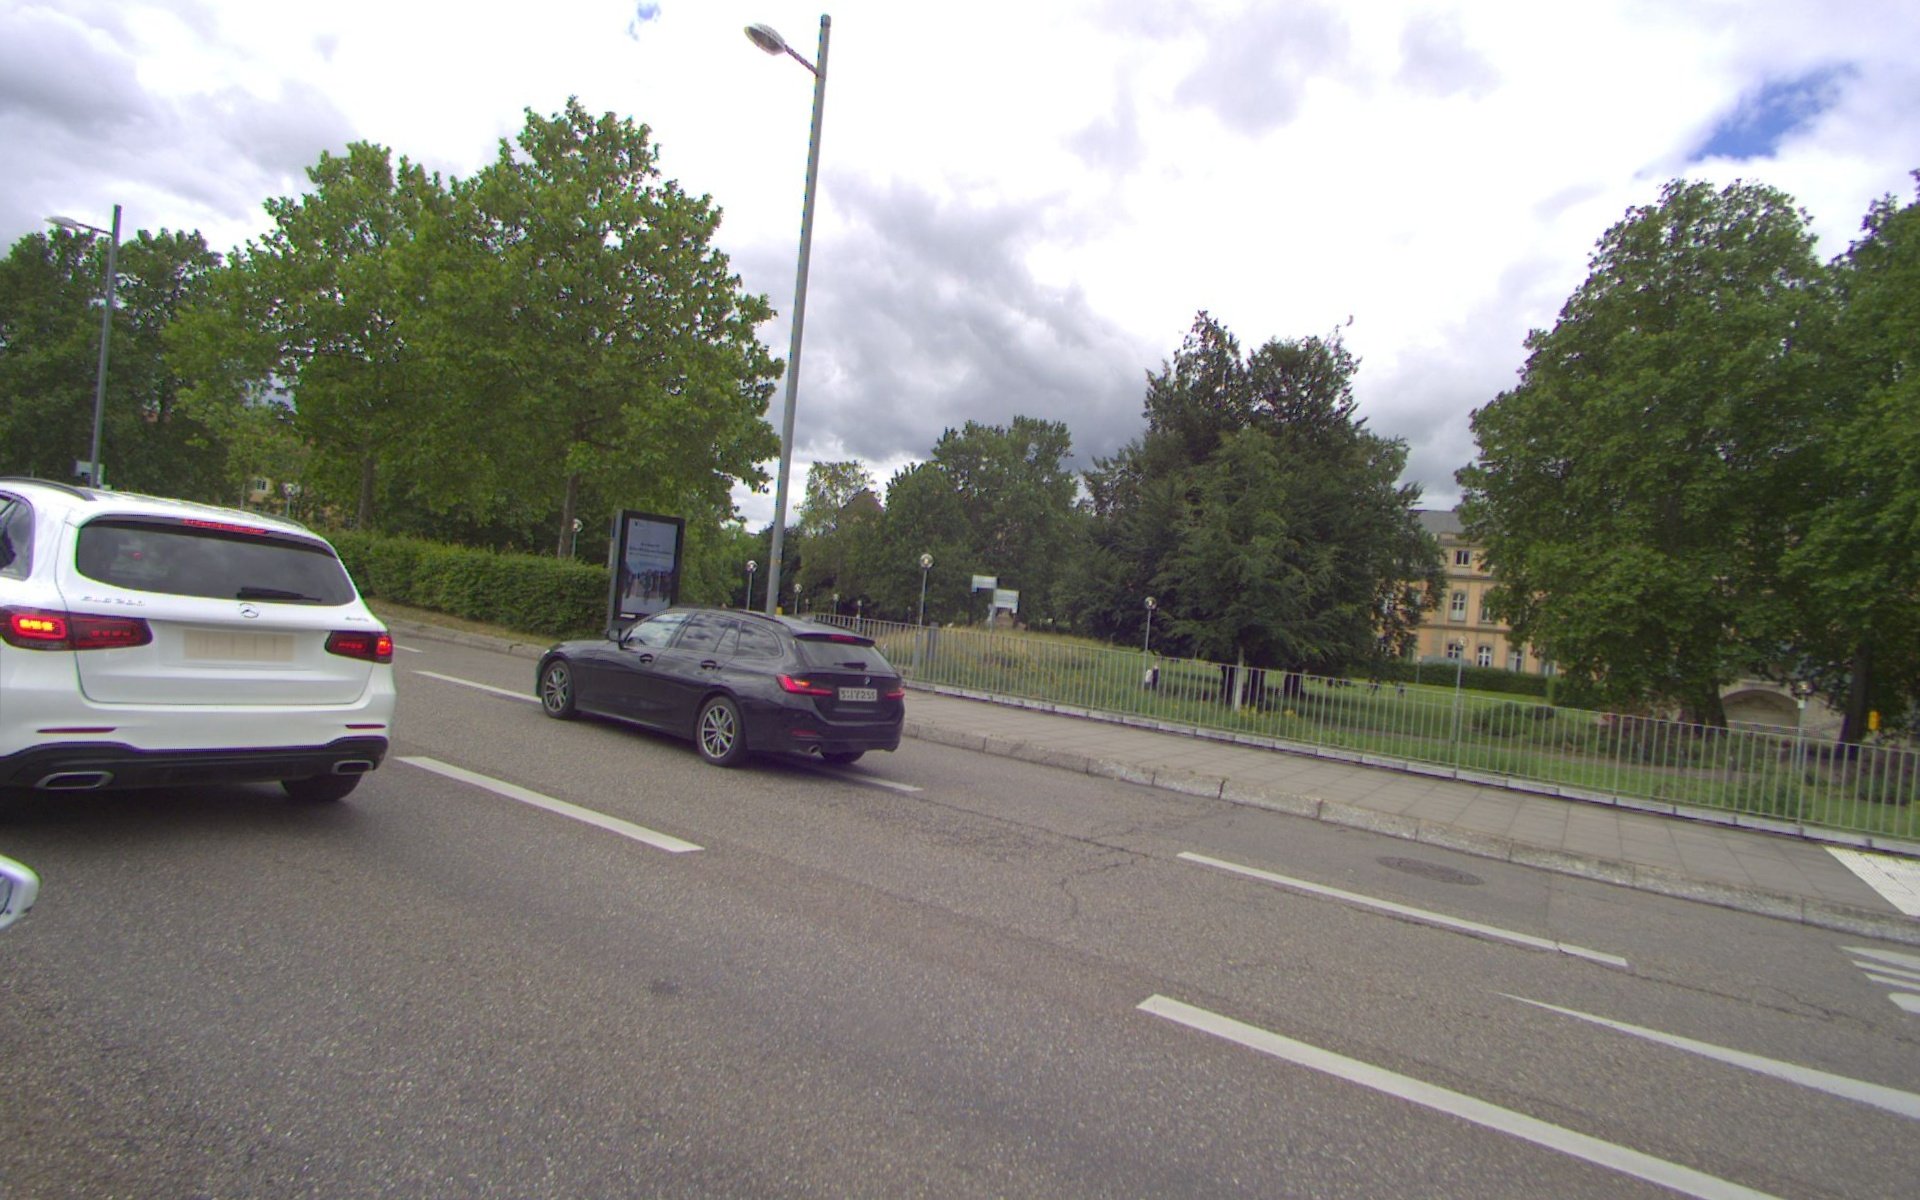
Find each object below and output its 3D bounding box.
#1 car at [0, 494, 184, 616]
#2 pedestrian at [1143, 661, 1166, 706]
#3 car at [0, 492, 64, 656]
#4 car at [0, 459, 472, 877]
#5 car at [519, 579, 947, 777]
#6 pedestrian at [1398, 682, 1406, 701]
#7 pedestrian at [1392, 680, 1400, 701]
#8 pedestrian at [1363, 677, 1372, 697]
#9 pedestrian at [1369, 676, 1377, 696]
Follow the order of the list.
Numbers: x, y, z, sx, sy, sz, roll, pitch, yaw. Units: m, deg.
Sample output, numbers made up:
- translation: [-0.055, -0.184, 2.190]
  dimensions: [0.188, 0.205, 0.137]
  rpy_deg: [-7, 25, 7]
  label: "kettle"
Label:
- translation: [-15.435, -0.840, 17.271]
  dimensions: [4.235, 1.659, 1.996]
  rpy_deg: [7, -1, 34]
  label: "car"
- translation: [7.269, 3.115, 37.548]
  dimensions: [0.645, 1.619, 0.684]
  rpy_deg: [6, -2, 13]
  label: "pedestrian"
- translation: [-11.478, -0.491, 10.535]
  dimensions: [4.417, 1.569, 1.929]
  rpy_deg: [6, -2, 33]
  label: "car"
- translation: [-5.165, 0.133, 5.994]
  dimensions: [4.416, 1.673, 1.929]
  rpy_deg: [7, -1, 33]
  label: "car"
- translation: [-2.534, 0.741, 10.696]
  dimensions: [4.460, 1.476, 1.932]
  rpy_deg: [5, -3, 38]
  label: "car"
- translation: [39.953, 8.264, 90.952]
  dimensions: [0.460, 1.725, 0.405]
  rpy_deg: [5, -2, 32]
  label: "pedestrian"
- translation: [39.319, 8.162, 90.795]
  dimensions: [0.460, 1.756, 0.405]
  rpy_deg: [5, -2, 32]
  label: "pedestrian"
- translation: [37.168, 7.955, 91.702]
  dimensions: [0.401, 1.756, 0.465]
  rpy_deg: [7, -2, -26]
  label: "pedestrian"
- translation: [37.820, 7.905, 92.097]
  dimensions: [0.462, 1.756, 0.404]
  rpy_deg: [5, -3, 45]
  label: "pedestrian"
